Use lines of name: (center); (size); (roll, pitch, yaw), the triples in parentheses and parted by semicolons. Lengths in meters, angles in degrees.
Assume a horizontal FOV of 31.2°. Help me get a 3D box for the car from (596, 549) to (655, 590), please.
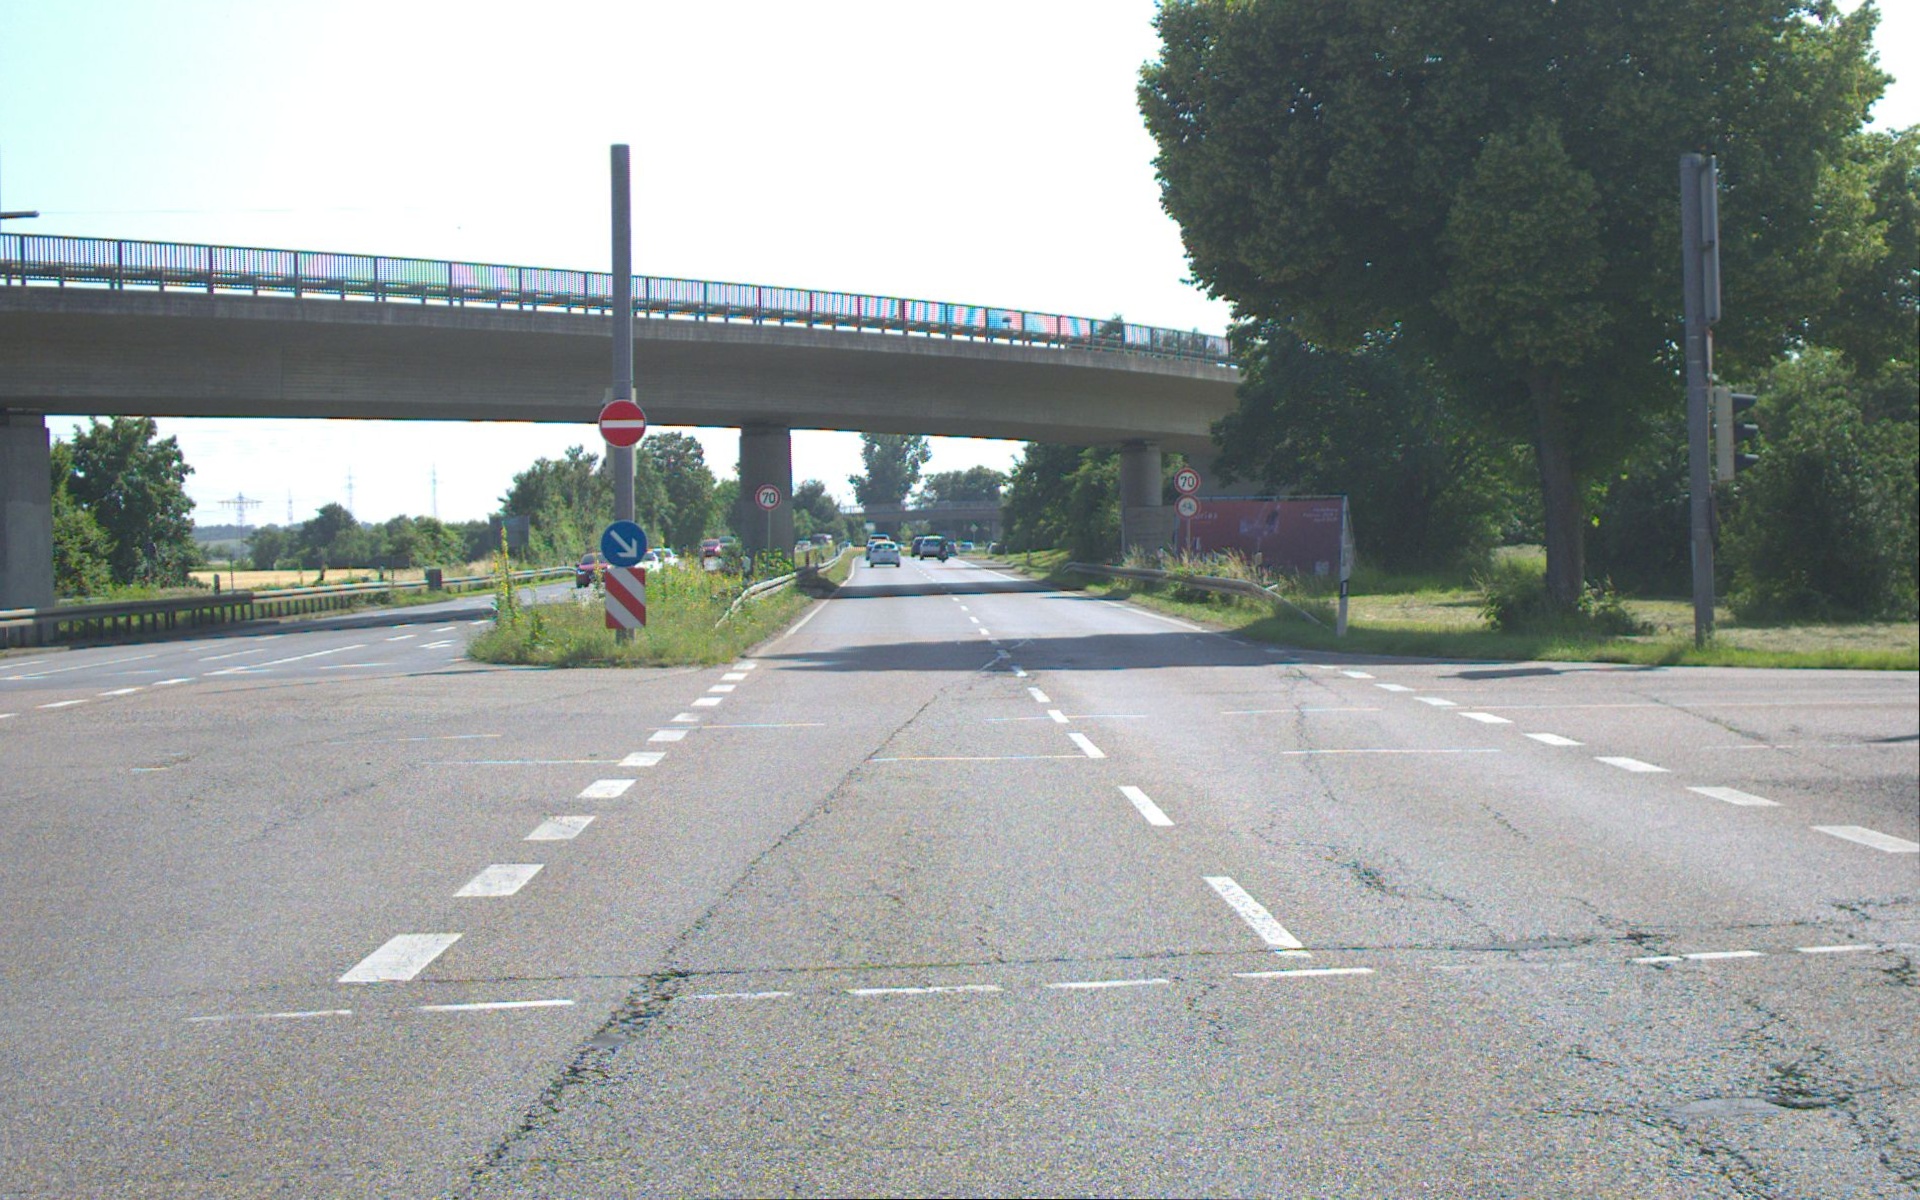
car: (-12.925, -1.183, 132.976); (1.856, 1.443, 4.241); (-3, 1, -1)

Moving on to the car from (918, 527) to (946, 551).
car: (-1.994, -4.334, 243.885); (1.873, 1.634, 4.000); (0, 1, 1)

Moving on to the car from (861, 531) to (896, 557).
car: (-4.618, -3.204, 195.976); (1.851, 1.456, 4.000); (-1, 1, 1)
